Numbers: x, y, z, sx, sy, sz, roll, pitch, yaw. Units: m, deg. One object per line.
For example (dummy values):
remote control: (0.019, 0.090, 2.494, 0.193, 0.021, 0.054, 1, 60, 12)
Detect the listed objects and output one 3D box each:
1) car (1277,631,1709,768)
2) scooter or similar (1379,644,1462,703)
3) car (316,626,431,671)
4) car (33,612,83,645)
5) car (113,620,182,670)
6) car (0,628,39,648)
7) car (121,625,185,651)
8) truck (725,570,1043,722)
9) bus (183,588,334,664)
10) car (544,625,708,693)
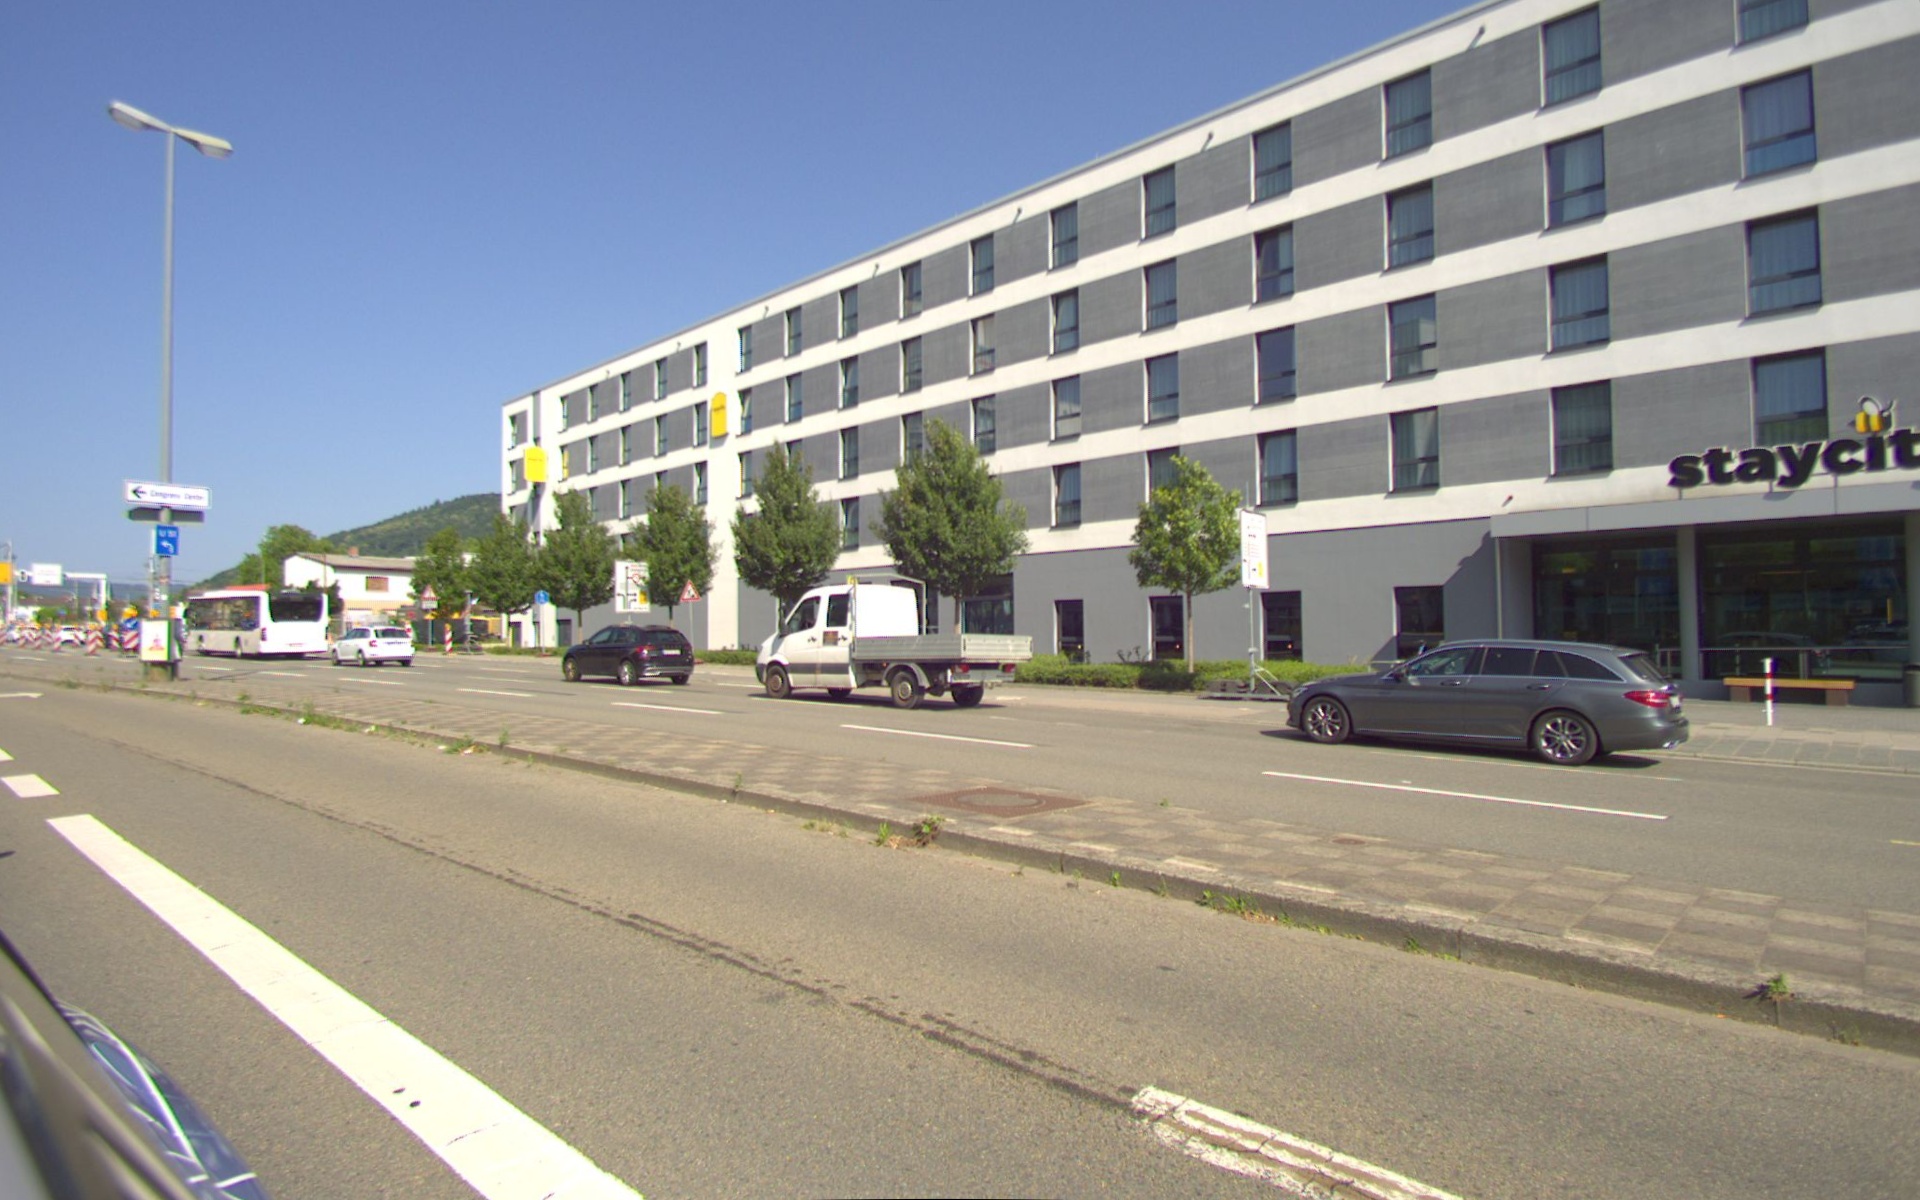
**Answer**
car: (6.676, 1.172, 13.028, 4.586, 1.438, 1.934, -1, -5, 43)
scooter or similar: (9.338, 1.468, 20.568, 1.518, 1.121, 0.347, 0, -1, 44)
car: (-21.412, 1.754, 36.897, 4.404, 1.497, 1.976, 0, -4, 36)
car: (-66.455, 2.119, 74.555, 3.993, 2.029, 1.975, -8, -8, 37)
car: (-35.699, 1.913, 44.432, 4.163, 2.029, 1.658, 0, 0, 42)
car: (-78.720, 3.141, 84.687, 3.585, 1.631, 1.699, -1, -1, 36)
car: (-46.217, 2.156, 57.939, 4.888, 1.443, 1.973, -1, -2, 41)
truck: (-1.694, 0.857, 20.089, 6.433, 2.564, 2.333, 0, -4, 41)
bus: (-32.513, 1.224, 46.607, 11.968, 3.102, 2.710, -1, -4, 41)
car: (-8.803, 1.484, 26.550, 4.406, 1.590, 1.974, 0, -2, 38)
